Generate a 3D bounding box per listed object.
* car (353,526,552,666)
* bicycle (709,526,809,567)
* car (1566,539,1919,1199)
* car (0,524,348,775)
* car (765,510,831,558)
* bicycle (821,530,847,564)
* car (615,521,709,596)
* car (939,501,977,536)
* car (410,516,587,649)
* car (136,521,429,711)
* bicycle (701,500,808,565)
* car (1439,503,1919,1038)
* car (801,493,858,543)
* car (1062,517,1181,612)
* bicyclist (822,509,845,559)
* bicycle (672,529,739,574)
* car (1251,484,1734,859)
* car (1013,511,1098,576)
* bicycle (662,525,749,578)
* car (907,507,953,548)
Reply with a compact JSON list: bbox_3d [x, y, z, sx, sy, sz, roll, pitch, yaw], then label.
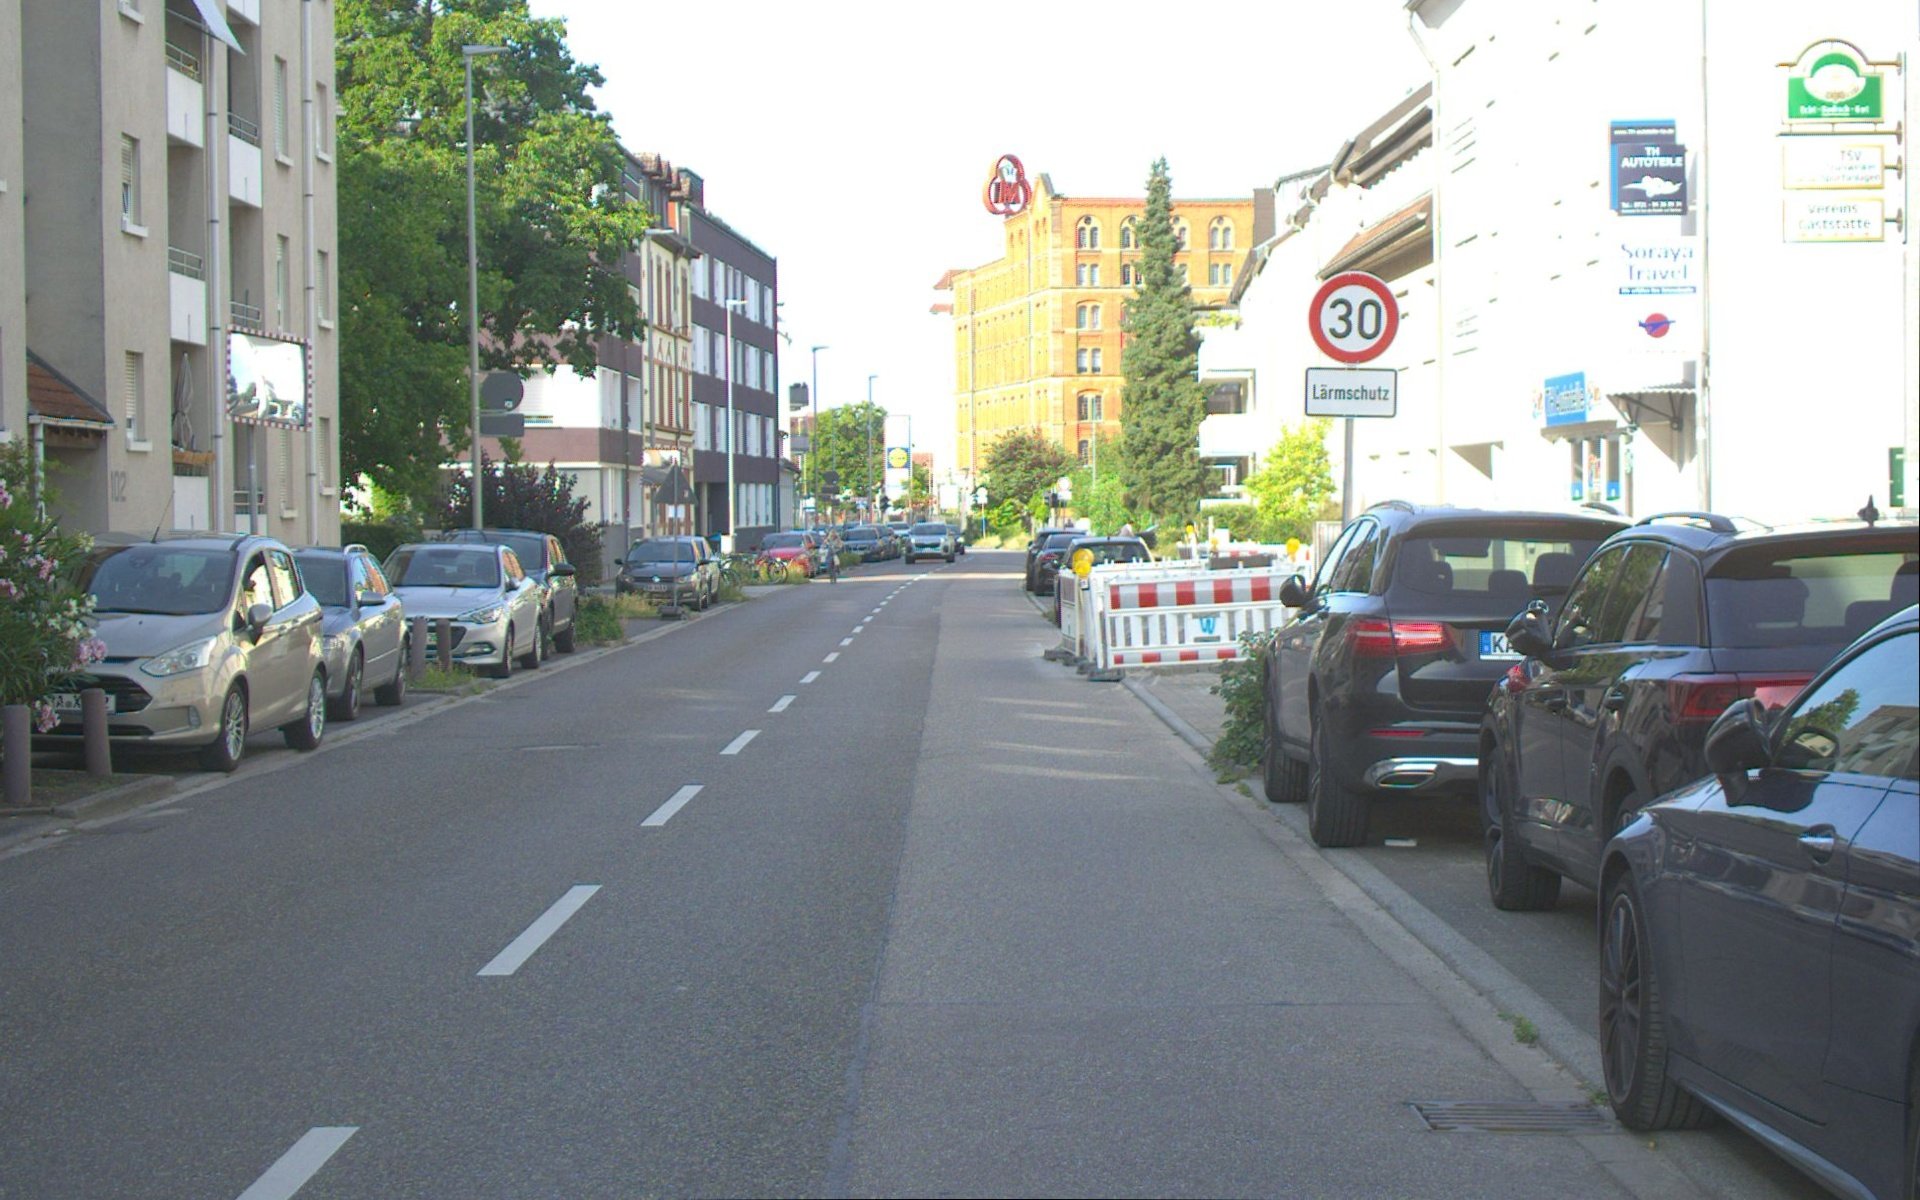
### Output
[{"bbox_3d":[-5.632,-0.083,38.571,1.686,1.449,4.141,0,2,-1],"label":"car"},{"bbox_3d":[-5.781,-1.542,98.885,2.773,1.140,1.143,-1,1,1],"label":"bicycle"},{"bbox_3d":[2.532,0.615,6.876,1.830,1.415,4.609,-1,2,0],"label":"car"},{"bbox_3d":[-5.493,0.271,23.733,1.727,1.550,3.965,0,2,2],"label":"car"},{"bbox_3d":[-5.016,-2.061,106.741,1.840,1.459,3.585,-1,2,1],"label":"car"},{"bbox_3d":[-3.652,-1.547,99.595,0.608,0.939,1.811,-1,2,1],"label":"bicycle"},{"bbox_3d":[-5.901,-0.842,68.341,1.573,1.415,3.804,0,2,0],"label":"car"},{"bbox_3d":[-0.075,-3.921,165.397,1.763,1.610,4.000,-1,2,0],"label":"car"},{"bbox_3d":[-5.829,-0.264,43.832,1.686,1.597,4.370,0,2,0],"label":"car"},{"bbox_3d":[-5.852,0.082,30.178,1.807,1.516,4.371,0,2,-1],"label":"car"},{"bbox_3d":[-5.798,-1.918,97.103,2.918,1.771,1.202,-1,1,1],"label":"bicycle"},{"bbox_3d":[2.993,0.447,12.382,1.830,1.554,4.318,-1,2,-1],"label":"car"},{"bbox_3d":[-5.044,-3.178,132.861,1.993,1.875,4.000,-1,2,1],"label":"car"},{"bbox_3d":[2.653,-0.616,57.279,1.830,1.477,3.943,-1,2,1],"label":"car"},{"bbox_3d":[-3.664,-1.918,99.590,0.591,1.437,0.750,-1,1,1],"label":"bicyclist"},{"bbox_3d":[-6.064,-1.158,81.875,1.584,1.037,0.708,-1,1,-5],"label":"bicycle"},{"bbox_3d":[2.566,0.258,17.577,1.830,1.624,4.463,-2,2,1],"label":"car"},{"bbox_3d":[2.246,-1.356,81.482,1.859,1.467,4.000,1,2,0],"label":"car"},{"bbox_3d":[-5.954,-1.131,80.308,2.000,1.213,0.708,-1,1,-5],"label":"bicycle"},{"bbox_3d":[-1.185,-2.923,137.951,1.763,1.610,4.000,-1,2,0],"label":"car"}]
